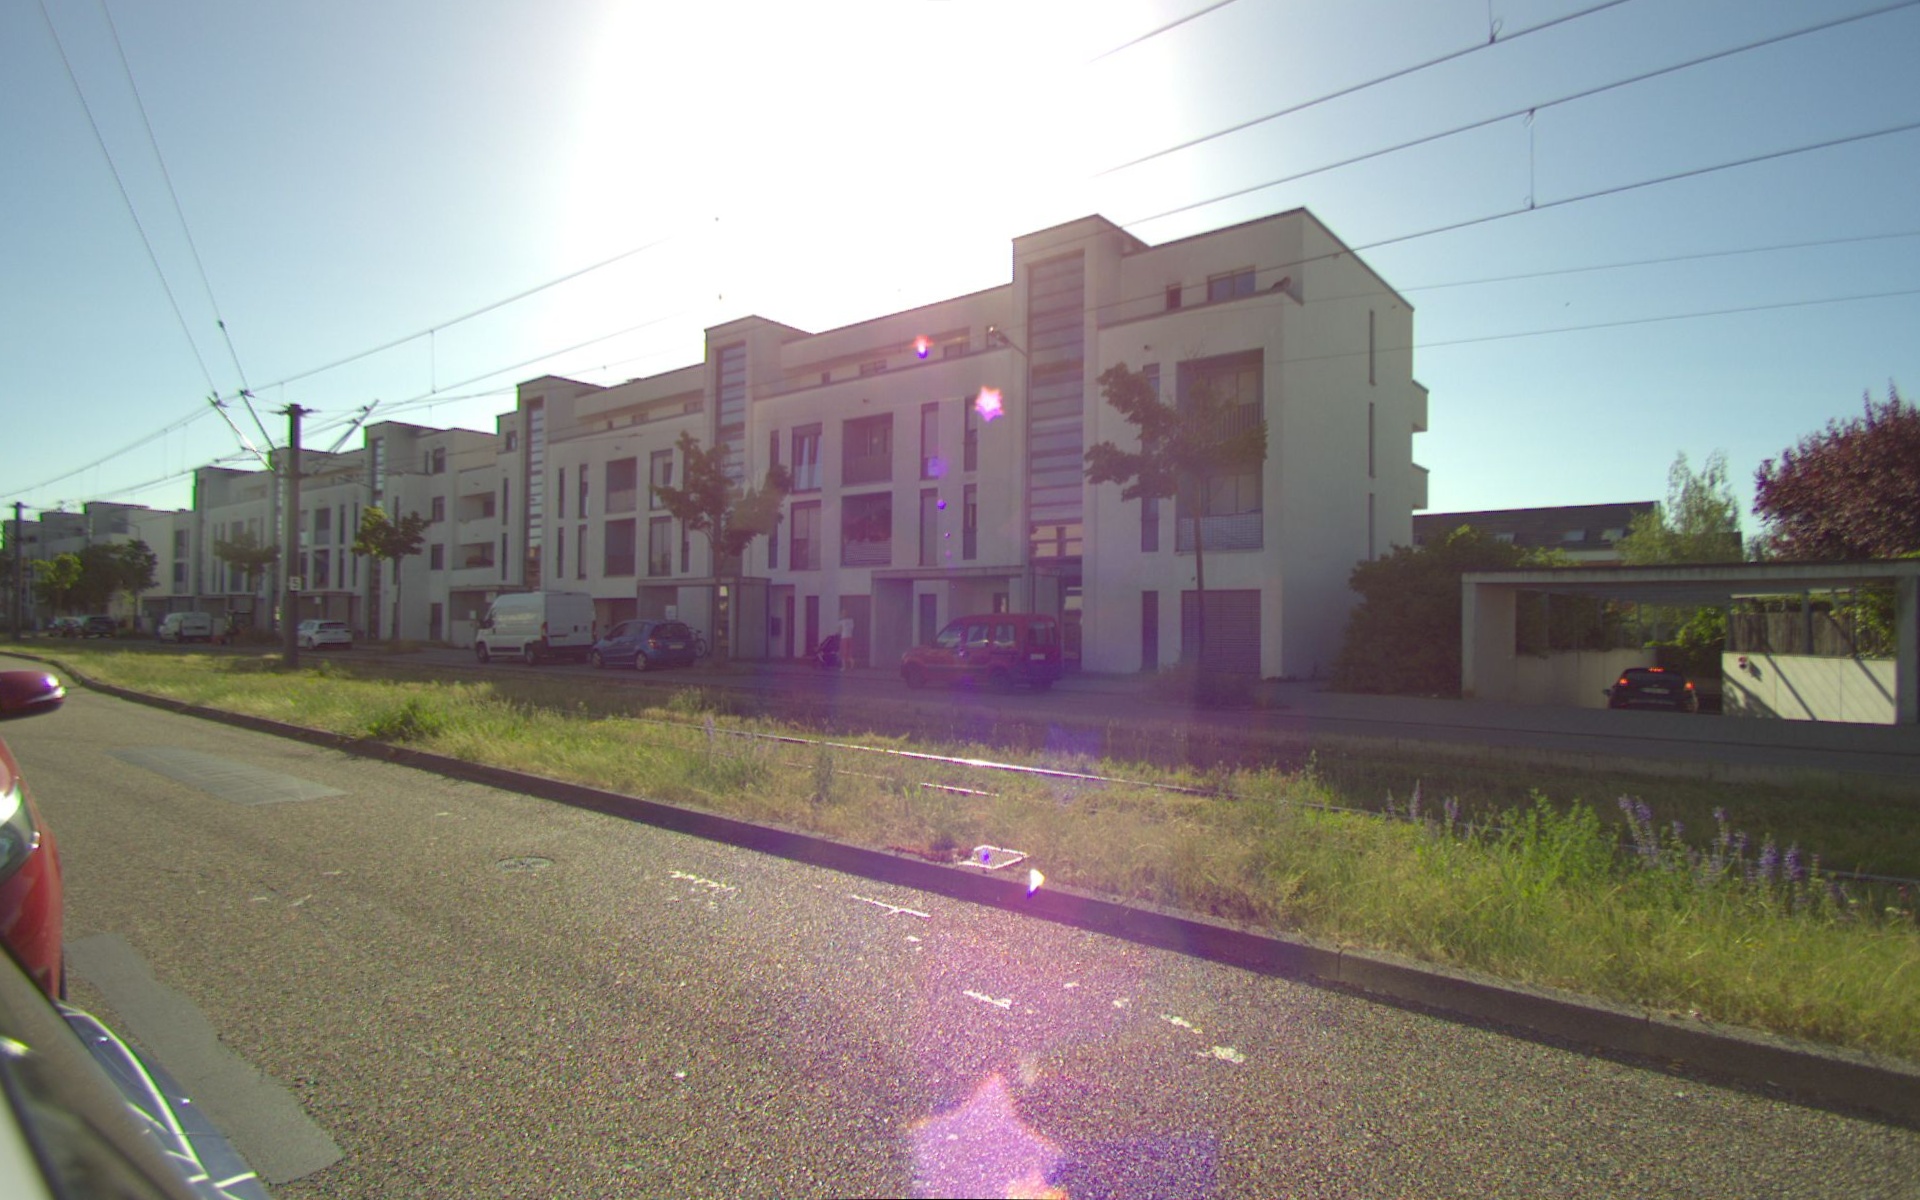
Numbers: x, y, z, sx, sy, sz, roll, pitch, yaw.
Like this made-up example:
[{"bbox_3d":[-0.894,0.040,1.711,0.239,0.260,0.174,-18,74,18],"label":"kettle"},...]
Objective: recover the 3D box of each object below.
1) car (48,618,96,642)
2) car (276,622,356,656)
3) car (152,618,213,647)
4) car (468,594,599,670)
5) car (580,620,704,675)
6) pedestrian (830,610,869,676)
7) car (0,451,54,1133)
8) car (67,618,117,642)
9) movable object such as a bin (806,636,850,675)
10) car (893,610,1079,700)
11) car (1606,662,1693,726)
[{"bbox_3d":[-67.524,2.247,76.930,4.277,1.693,1.900,-1,0,37],"label":"car"},{"bbox_3d":[-31.137,1.833,48.900,4.277,1.517,1.900,-1,0,37],"label":"car"},{"bbox_3d":[-47.357,1.955,61.625,4.277,1.693,1.900,-1,0,37],"label":"car"},{"bbox_3d":[-15.196,1.071,35.946,5.193,2.491,2.197,-1,0,40],"label":"car"},{"bbox_3d":[-10.001,1.444,31.741,3.833,1.556,1.973,-1,0,40],"label":"car"},{"bbox_3d":[-3.146,1.205,28.910,0.785,1.836,0.766,-1,0,41],"label":"pedestrian"},{"bbox_3d":[-4.856,0.552,3.640,4.505,1.868,1.850,-1,0,41],"label":"car"},{"bbox_3d":[-62.979,2.157,73.406,4.277,1.693,1.900,-1,0,37],"label":"car"},{"bbox_3d":[-3.850,1.599,29.524,1.083,1.062,0.719,-1,0,42],"label":"movable object such as a bin"},{"bbox_3d":[0.537,1.165,23.020,3.895,1.842,1.972,-1,0,43],"label":"car"},{"bbox_3d":[16.718,2.303,24.473,1.574,1.337,3.950,-1,-7,37],"label":"car"}]
